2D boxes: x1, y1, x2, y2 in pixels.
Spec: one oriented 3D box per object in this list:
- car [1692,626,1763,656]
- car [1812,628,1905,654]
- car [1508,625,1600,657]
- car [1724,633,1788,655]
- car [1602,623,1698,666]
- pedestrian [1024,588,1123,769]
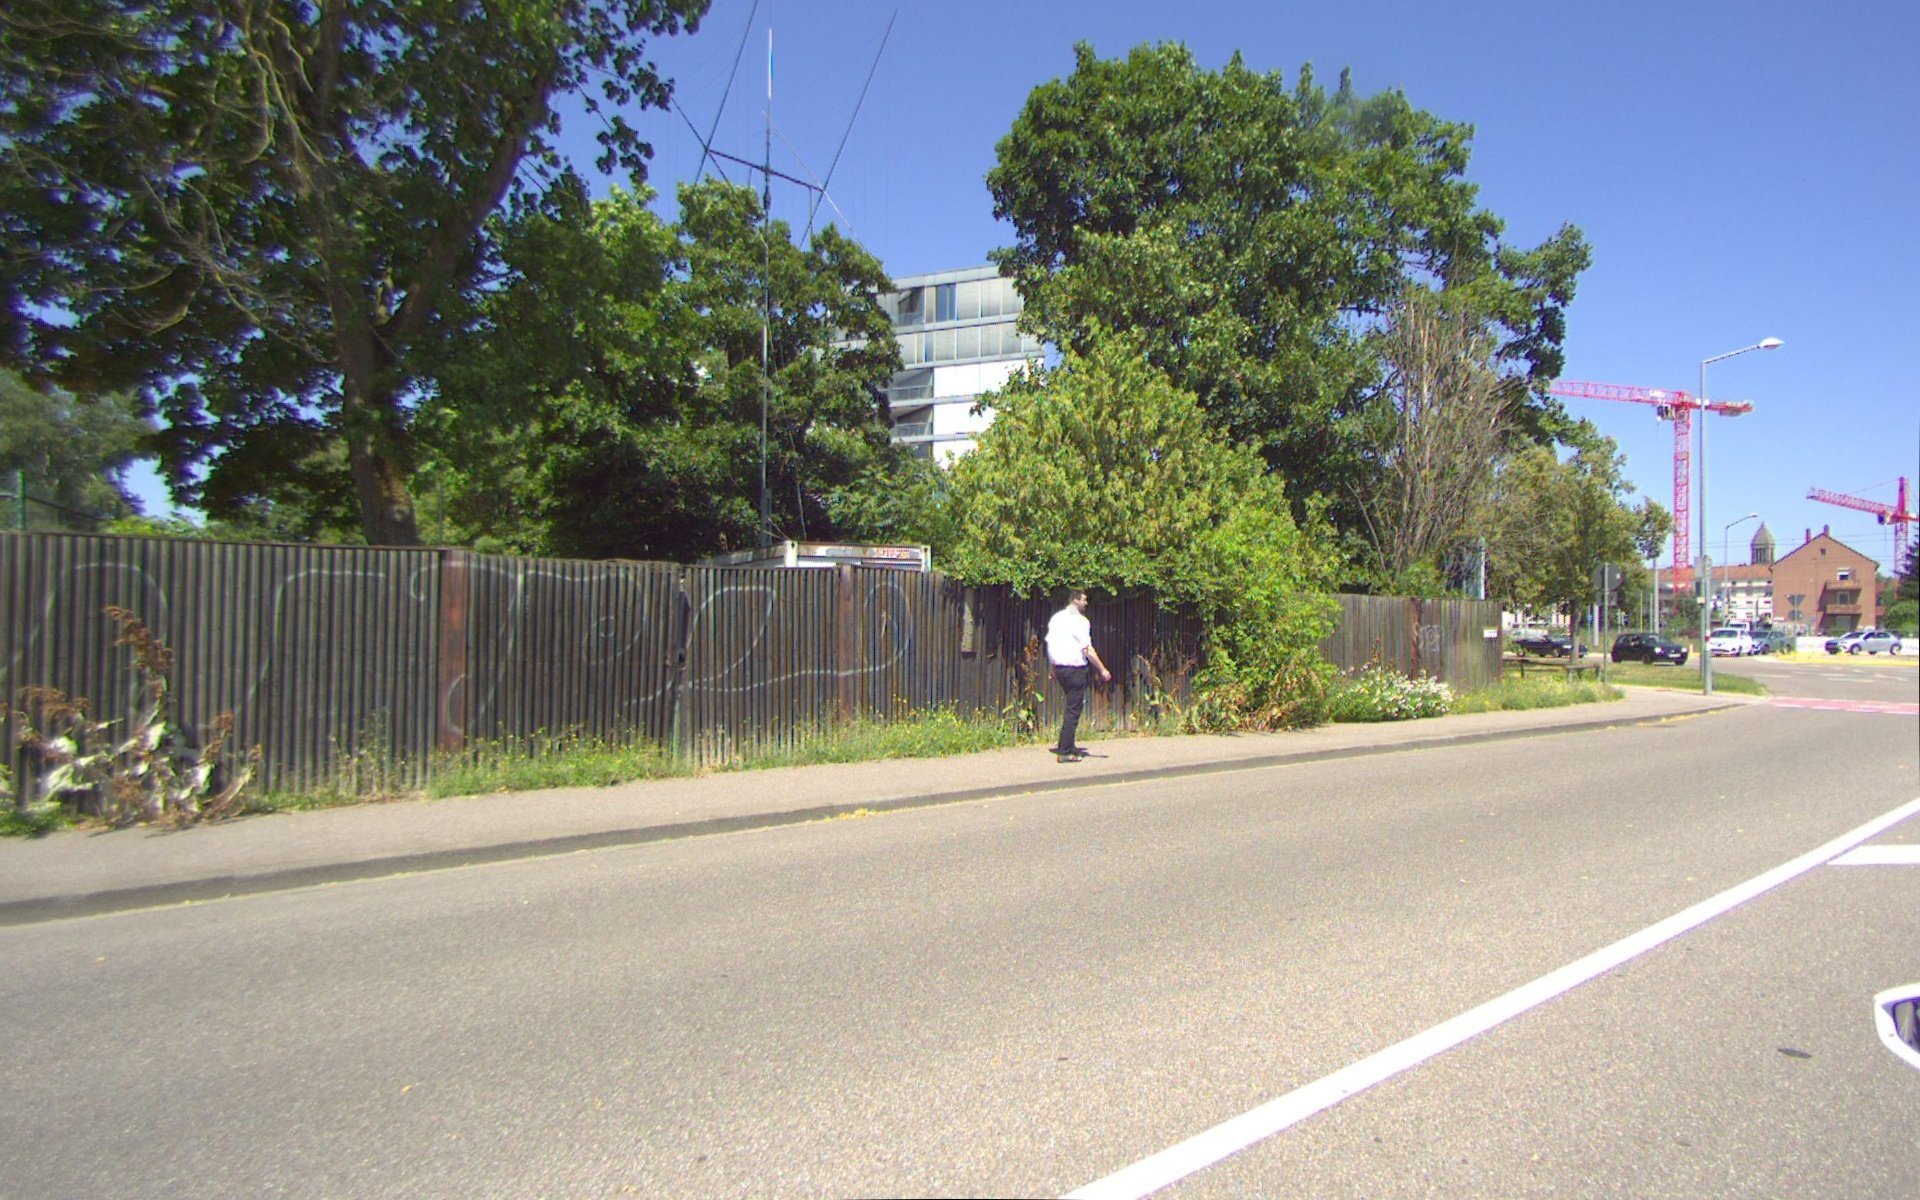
[{"bbox_3d":[42.218,2.230,55.228,3.953,1.570,1.748,2,-1,-30],"label":"car"},{"bbox_3d":[55.617,2.520,62.238,4.136,1.520,1.713,1,0,3],"label":"car"},{"bbox_3d":[34.587,2.341,58.660,1.964,1.678,4.946,1,-1,-9],"label":"car"},{"bbox_3d":[46.517,2.567,58.674,3.742,1.253,1.699,2,-1,-30],"label":"car"},{"bbox_3d":[31.689,1.997,46.265,1.959,1.840,4.002,1,-1,6],"label":"car"},{"bbox_3d":[1.213,0.808,10.727,0.841,1.849,0.589,1,0,-30],"label":"pedestrian"}]
